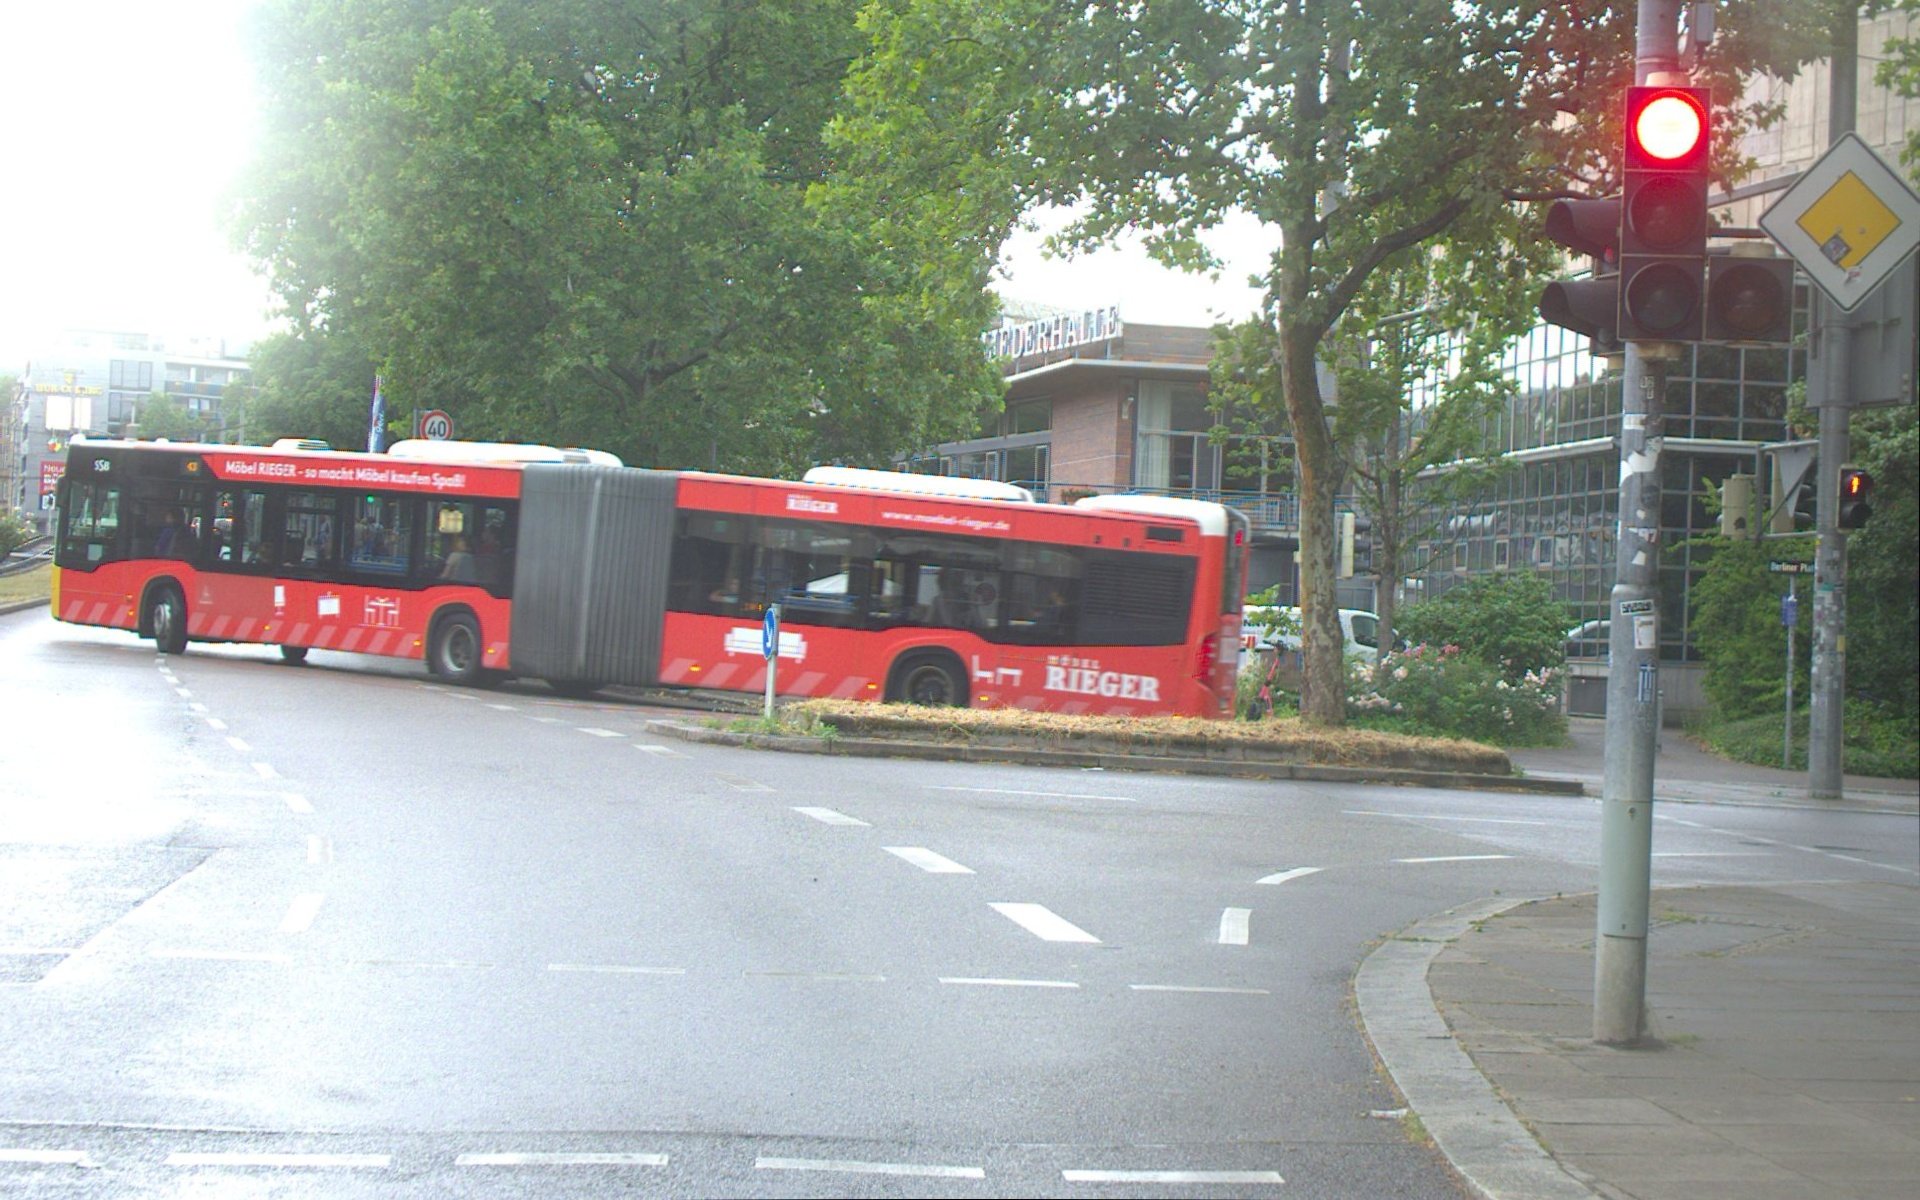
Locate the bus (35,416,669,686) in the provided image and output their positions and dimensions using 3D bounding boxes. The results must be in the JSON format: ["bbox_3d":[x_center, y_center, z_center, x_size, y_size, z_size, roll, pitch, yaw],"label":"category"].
[{"bbox_3d":[-8.403,-0.732,46.547,9.446,3.100,2.553,4,0,37],"label":"bus"}]

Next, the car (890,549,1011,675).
[{"bbox_3d":[-0.303,0.298,92.176,2.544,3.123,5.032,4,0,-6],"label":"car"}]

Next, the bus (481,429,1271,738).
[{"bbox_3d":[-1.016,-0.226,42.303,9.161,3.100,2.662,4,0,15],"label":"bus"}]

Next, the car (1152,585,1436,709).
[{"bbox_3d":[6.182,0.865,63.671,4.745,1.937,2.001,4,0,-22],"label":"car"}]

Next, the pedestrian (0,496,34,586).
[{"bbox_3d":[-17.621,-1.091,63.534,0.738,1.634,0.871,4,0,-6],"label":"pedestrian"}]
